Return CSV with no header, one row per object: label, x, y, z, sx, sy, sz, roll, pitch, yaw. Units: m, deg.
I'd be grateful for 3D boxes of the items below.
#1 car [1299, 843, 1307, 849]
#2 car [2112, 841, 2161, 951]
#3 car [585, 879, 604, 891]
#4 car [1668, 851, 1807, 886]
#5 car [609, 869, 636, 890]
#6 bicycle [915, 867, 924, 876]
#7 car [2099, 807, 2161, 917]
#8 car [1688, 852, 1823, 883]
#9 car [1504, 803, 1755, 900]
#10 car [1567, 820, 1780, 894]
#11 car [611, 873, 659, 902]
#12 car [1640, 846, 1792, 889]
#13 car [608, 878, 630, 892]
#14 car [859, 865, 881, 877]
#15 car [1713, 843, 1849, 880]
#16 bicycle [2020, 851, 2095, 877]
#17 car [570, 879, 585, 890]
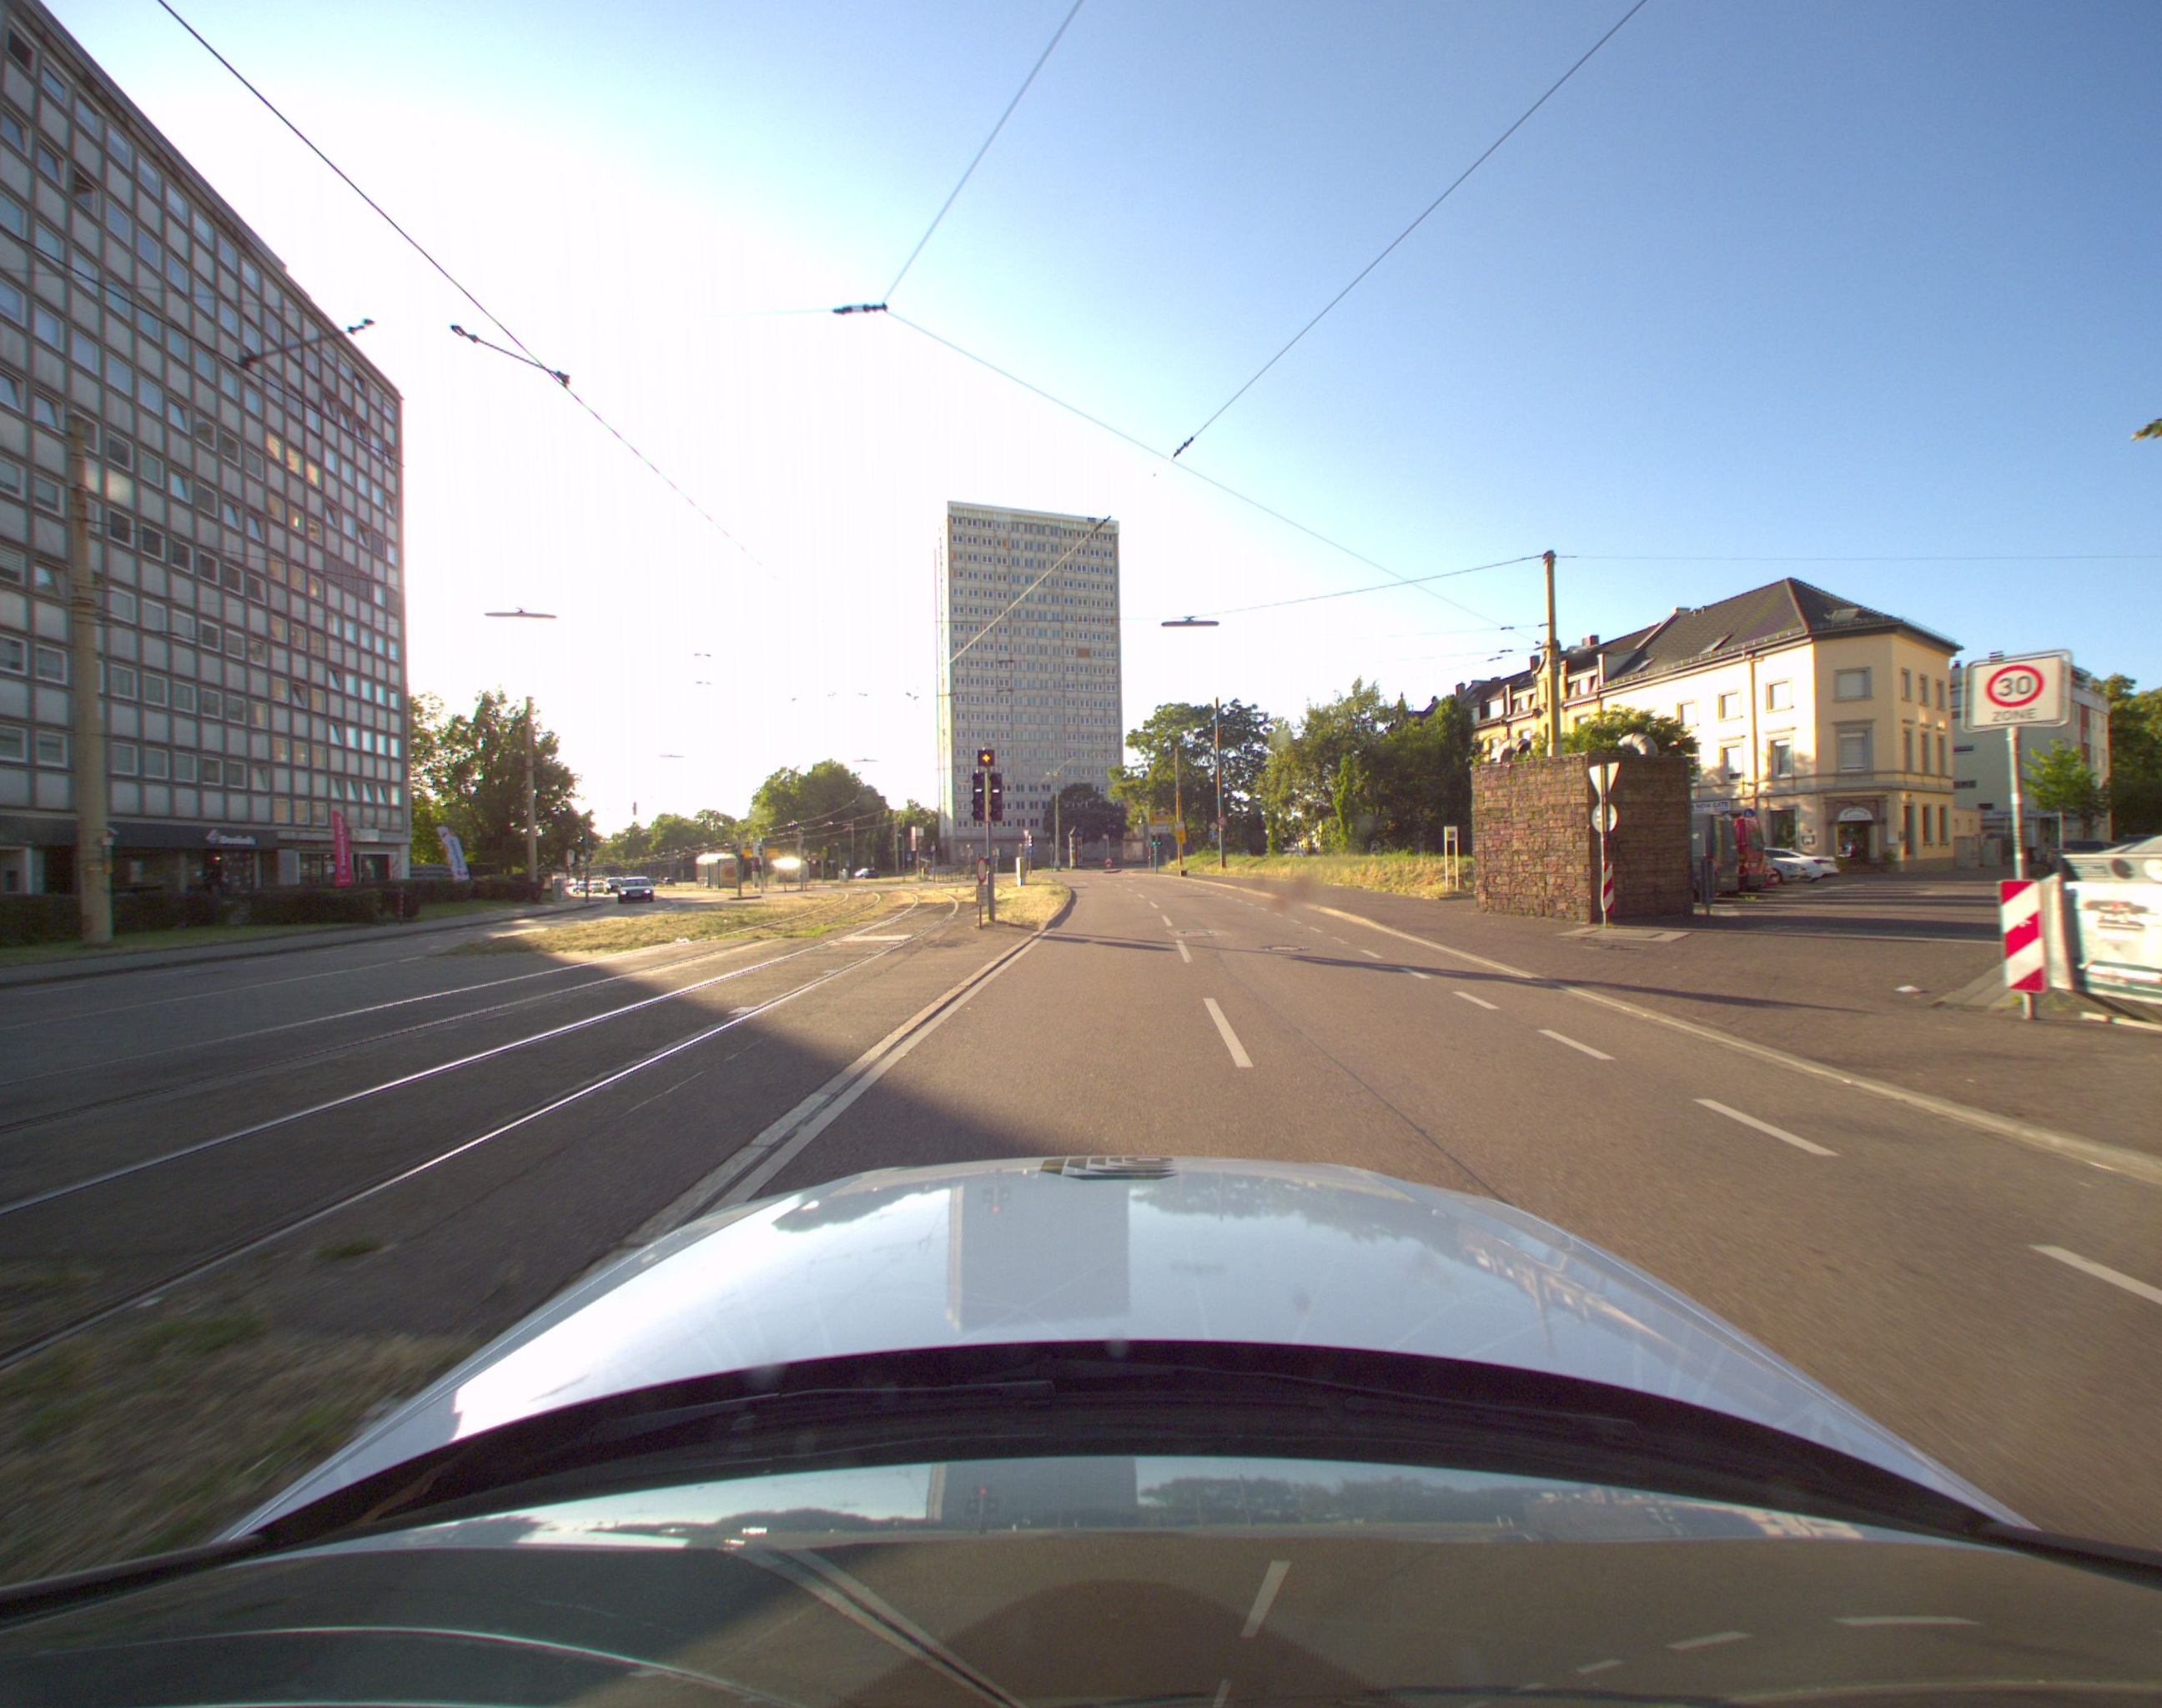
car,61.513,-2.340,225.845,1.844,1.543,4.019,-3,0,18
car,14.904,0.487,9.504,1.637,1.357,3.409,-1,-1,-34
car,-57.608,3.645,96.472,1.814,1.367,3.924,-1,-1,-33
car,24.237,0.539,30.177,1.713,1.161,3.667,-1,-1,-35
car,-37.670,2.097,66.830,1.663,1.596,4.539,-1,-1,-32
bicycle,-16.440,1.767,83.148,0.552,0.918,1.742,-3,0,-2
car,21.332,0.087,13.984,1.935,1.979,4.696,-1,-1,-36
car,26.002,0.521,31.498,1.713,1.090,3.667,-1,-1,-35
car,16.863,-0.025,25.482,2.052,2.666,6.148,-1,-1,-35
car,19.595,0.139,27.224,2.052,2.214,5.357,-1,-1,-35
car,-25.774,1.915,47.197,1.783,1.482,4.367,-4,0,-22
car,22.217,0.492,28.626,1.787,1.373,3.848,-1,-1,-35
car,-45.813,3.059,80.758,1.556,1.340,3.555,-1,-1,-34
car,-27.580,2.200,106.515,1.783,1.422,3.818,-2,-1,-30
car,28.288,0.336,33.022,1.787,1.373,3.848,-1,-1,-35
bicycle,38.216,0.411,31.891,0.492,0.969,1.810,-1,-1,-32
car,-70.564,4.275,114.061,1.702,1.530,3.662,-1,-1,-34
